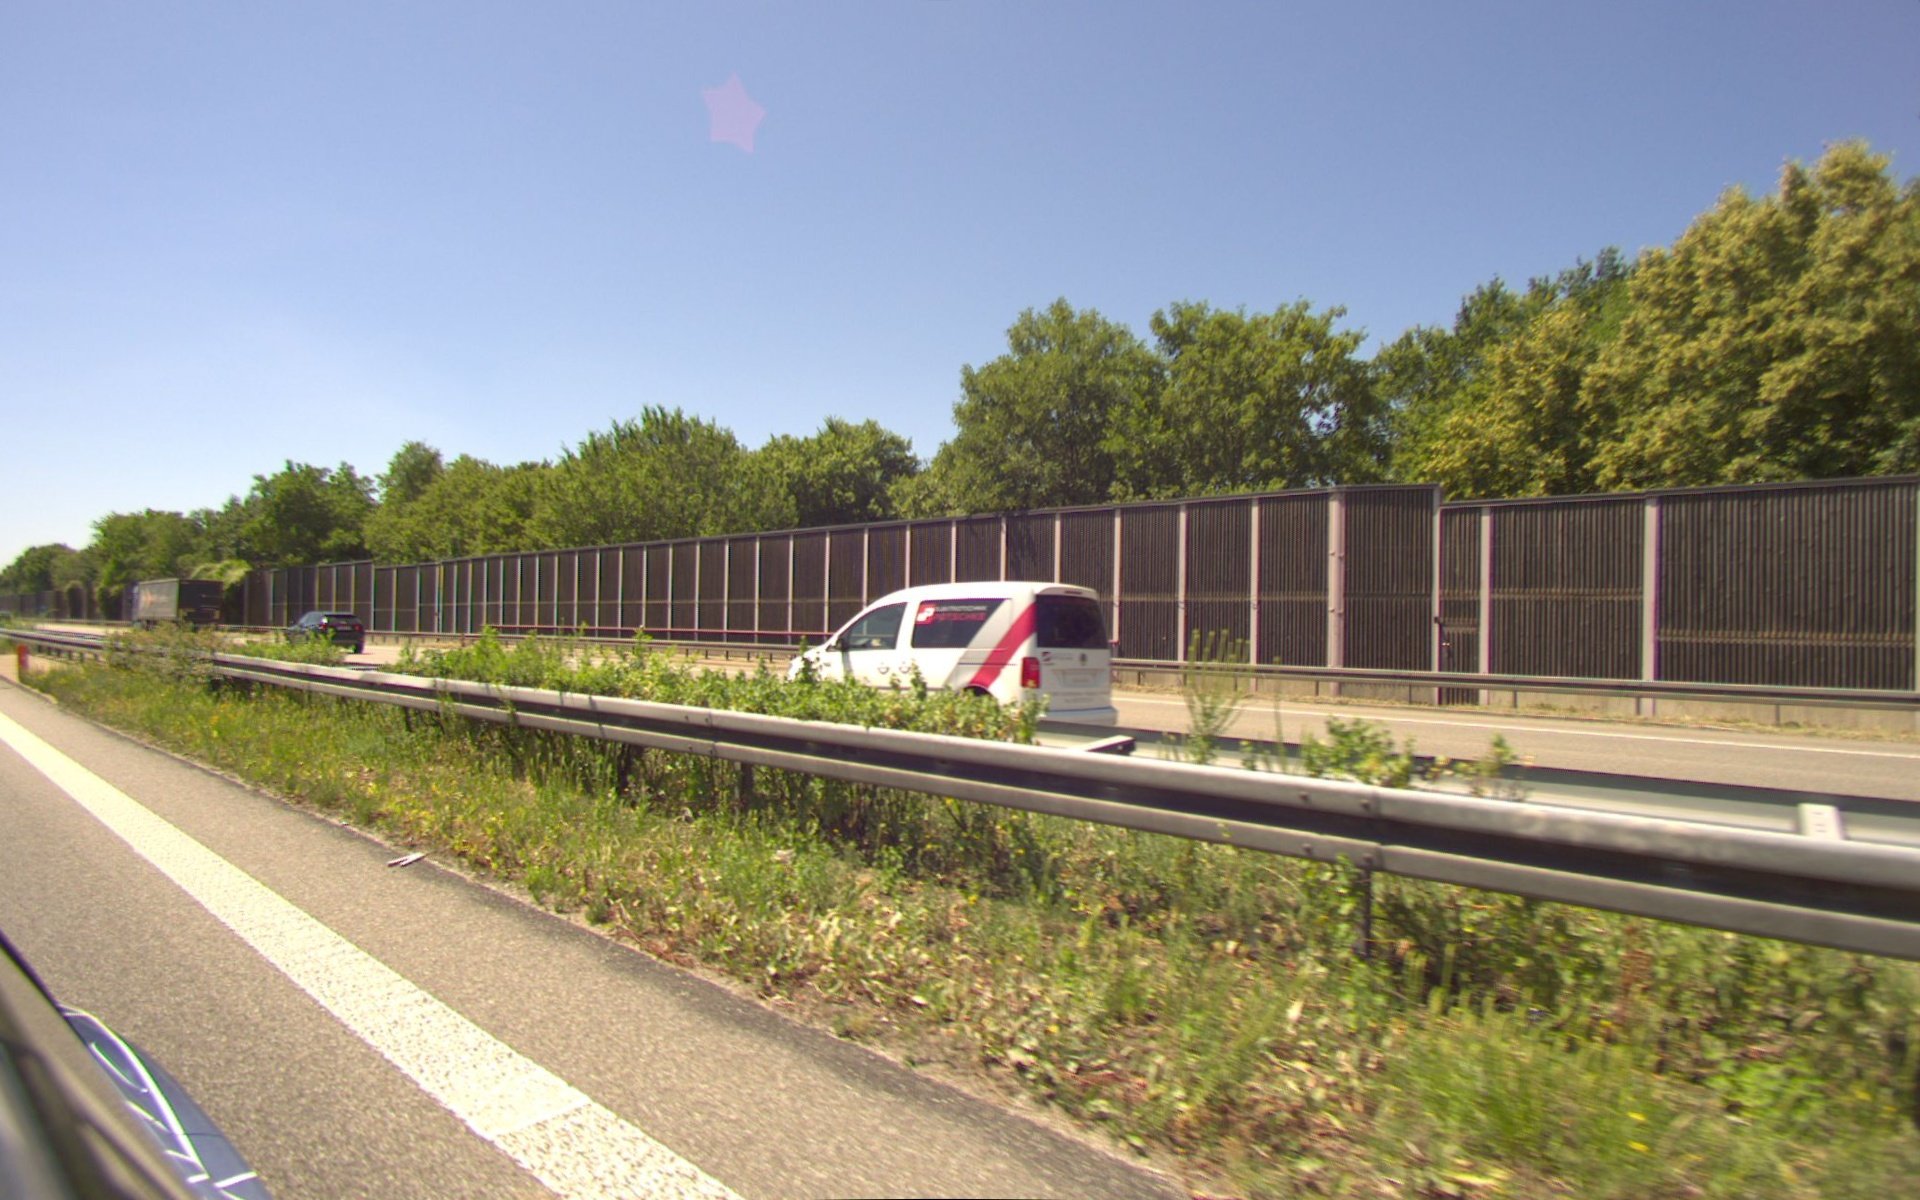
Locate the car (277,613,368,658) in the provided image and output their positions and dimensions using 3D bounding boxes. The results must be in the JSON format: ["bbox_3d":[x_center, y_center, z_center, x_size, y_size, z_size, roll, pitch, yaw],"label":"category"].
[{"bbox_3d":[-25.594,1.387,40.583,4.546,1.705,1.861,-1,-1,41],"label":"car"}]

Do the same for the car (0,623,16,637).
[{"bbox_3d":[-111.135,3.454,117.560,4.001,1.586,1.975,-1,-1,44],"label":"car"}]

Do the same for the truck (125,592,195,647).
[{"bbox_3d":[-62.367,1.524,78.817,6.188,4.039,3.060,-1,-3,41],"label":"truck"}]

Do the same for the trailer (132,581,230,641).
[{"bbox_3d":[-57.724,0.850,74.744,13.871,4.039,3.084,-1,-3,42],"label":"trailer"}]

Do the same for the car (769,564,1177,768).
[{"bbox_3d":[-0.022,0.646,11.400,4.557,1.854,1.764,-1,-2,41],"label":"car"}]
